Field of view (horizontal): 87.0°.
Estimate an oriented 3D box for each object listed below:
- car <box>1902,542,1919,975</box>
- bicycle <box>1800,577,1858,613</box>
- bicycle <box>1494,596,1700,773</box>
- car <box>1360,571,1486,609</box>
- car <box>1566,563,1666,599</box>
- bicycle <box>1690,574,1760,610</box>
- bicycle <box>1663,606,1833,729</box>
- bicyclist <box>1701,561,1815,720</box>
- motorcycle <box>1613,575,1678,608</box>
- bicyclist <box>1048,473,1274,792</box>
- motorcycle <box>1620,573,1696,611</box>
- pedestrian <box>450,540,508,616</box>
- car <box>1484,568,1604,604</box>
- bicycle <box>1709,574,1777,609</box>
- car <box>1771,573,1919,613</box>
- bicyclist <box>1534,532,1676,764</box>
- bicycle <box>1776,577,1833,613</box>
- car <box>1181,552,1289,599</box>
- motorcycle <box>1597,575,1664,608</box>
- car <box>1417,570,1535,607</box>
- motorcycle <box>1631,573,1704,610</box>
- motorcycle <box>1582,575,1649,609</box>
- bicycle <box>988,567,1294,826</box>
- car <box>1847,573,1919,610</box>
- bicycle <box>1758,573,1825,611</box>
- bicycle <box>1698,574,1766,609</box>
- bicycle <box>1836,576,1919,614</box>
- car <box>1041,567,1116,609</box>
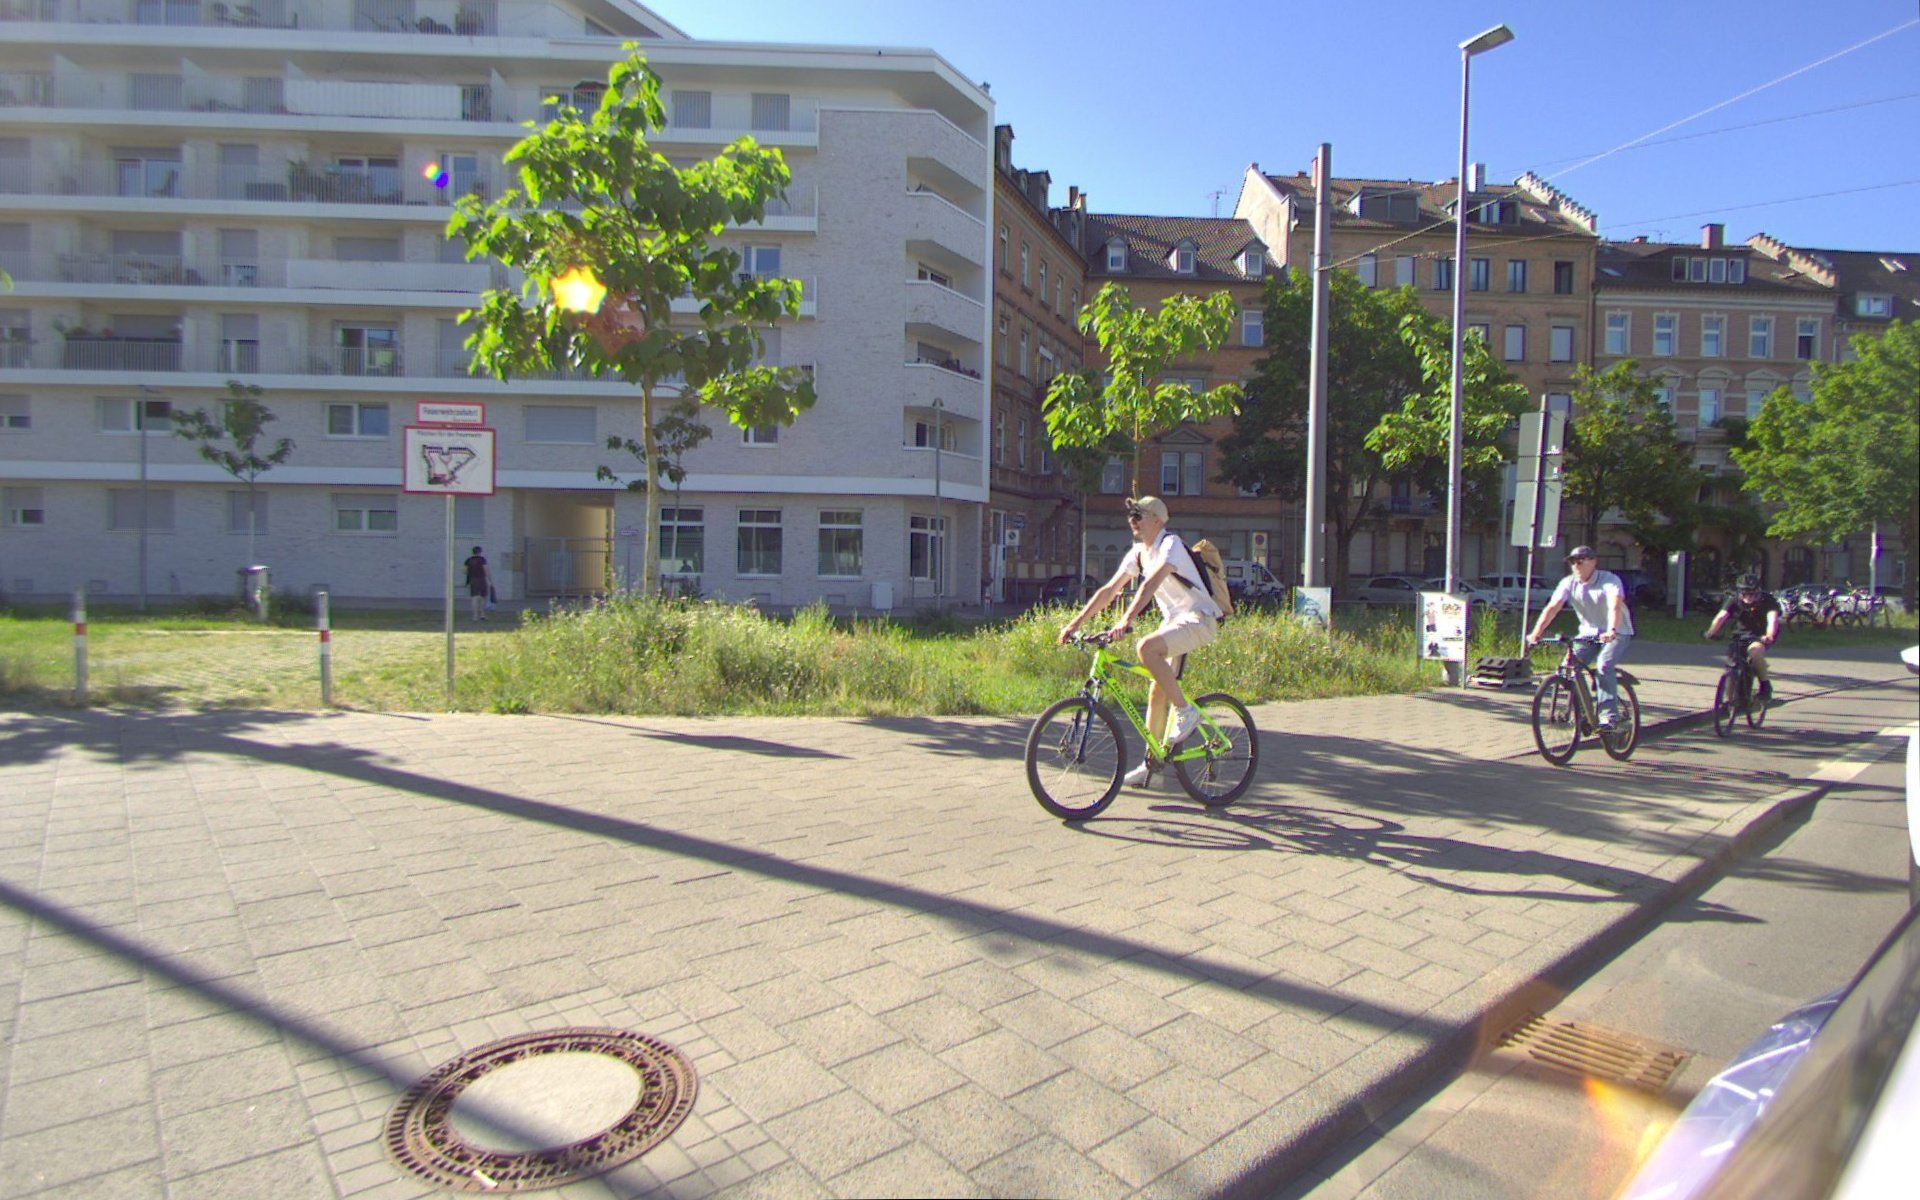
[{"bbox_3d":[5.864,0.609,4.719,4.323,1.667,1.840,0,0,-43],"label":"car"},{"bbox_3d":[32.029,-0.191,37.337,0.653,1.284,2.196,0,0,12],"label":"bicycle"},{"bbox_3d":[5.537,0.651,8.744,2.114,1.317,0.759,-1,2,-36],"label":"bicycle"},{"bbox_3d":[17.343,-0.421,38.110,1.648,1.267,4.170,0,3,-28],"label":"car"},{"bbox_3d":[30.870,-0.919,47.653,3.631,1.607,1.552,1,2,0],"label":"car"},{"bbox_3d":[28.364,-0.308,37.568,0.649,1.284,2.208,0,0,-11],"label":"bicycle"},{"bbox_3d":[8.584,0.684,10.999,2.110,1.212,0.639,0,1,-28],"label":"bicycle"},{"bbox_3d":[8.696,0.414,11.034,0.952,1.649,0.632,0,1,-29],"label":"bicyclist"},{"bbox_3d":[27.482,-0.333,40.614,0.649,1.284,2.209,0,0,-18],"label":"motorcycle"},{"bbox_3d":[1.206,0.167,6.101,1.072,1.747,0.717,1,2,-31],"label":"bicyclist"},{"bbox_3d":[25.333,-0.304,36.782,0.650,1.347,2.207,0,0,-28],"label":"motorcycle"},{"bbox_3d":[-11.315,-0.520,23.831,0.829,1.717,0.985,2,2,2],"label":"pedestrian"},{"bbox_3d":[22.323,-0.577,38.776,1.513,1.267,3.700,-1,3,-39],"label":"car"},{"bbox_3d":[29.718,-0.324,38.466,0.649,1.284,2.208,0,0,-9],"label":"bicycle"},{"bbox_3d":[34.680,-0.318,39.595,1.651,1.423,4.324,-1,3,-38],"label":"car"},{"bbox_3d":[5.591,0.373,8.788,0.735,1.889,0.810,-1,2,-35],"label":"bicyclist"},{"bbox_3d":[30.935,-0.183,37.113,0.653,1.284,2.196,0,0,12],"label":"bicycle"},{"bbox_3d":[12.655,-1.155,46.786,4.416,2.062,2.054,1,2,0],"label":"car"},{"bbox_3d":[26.692,-0.335,40.360,0.649,1.300,2.324,0,0,-18],"label":"motorcycle"},{"bbox_3d":[19.667,-0.467,38.720,1.648,1.267,3.709,0,3,-28],"label":"car"},{"bbox_3d":[26.149,-0.319,37.471,0.649,1.339,2.208,0,0,-23],"label":"motorcycle"},{"bbox_3d":[26.021,-0.327,40.228,0.649,1.293,2.324,0,0,-18],"label":"motorcycle"},{"bbox_3d":[1.100,0.507,6.052,1.714,1.343,0.717,1,2,-31],"label":"bicycle"},{"bbox_3d":[37.817,-0.326,39.965,1.649,1.423,3.832,-1,3,-32],"label":"car"},{"bbox_3d":[29.268,-0.290,35.676,0.651,1.284,2.202,0,0,4],"label":"bicycle"},{"bbox_3d":[29.075,-0.318,38.155,0.649,1.284,2.208,0,0,-9],"label":"bicycle"},{"bbox_3d":[31.624,-0.164,34.766,2.180,1.284,0.657,0,0,25],"label":"bicycle"},{"bbox_3d":[4.561,-0.506,38.300,1.811,1.444,4.359,1,2,21],"label":"car"}]
